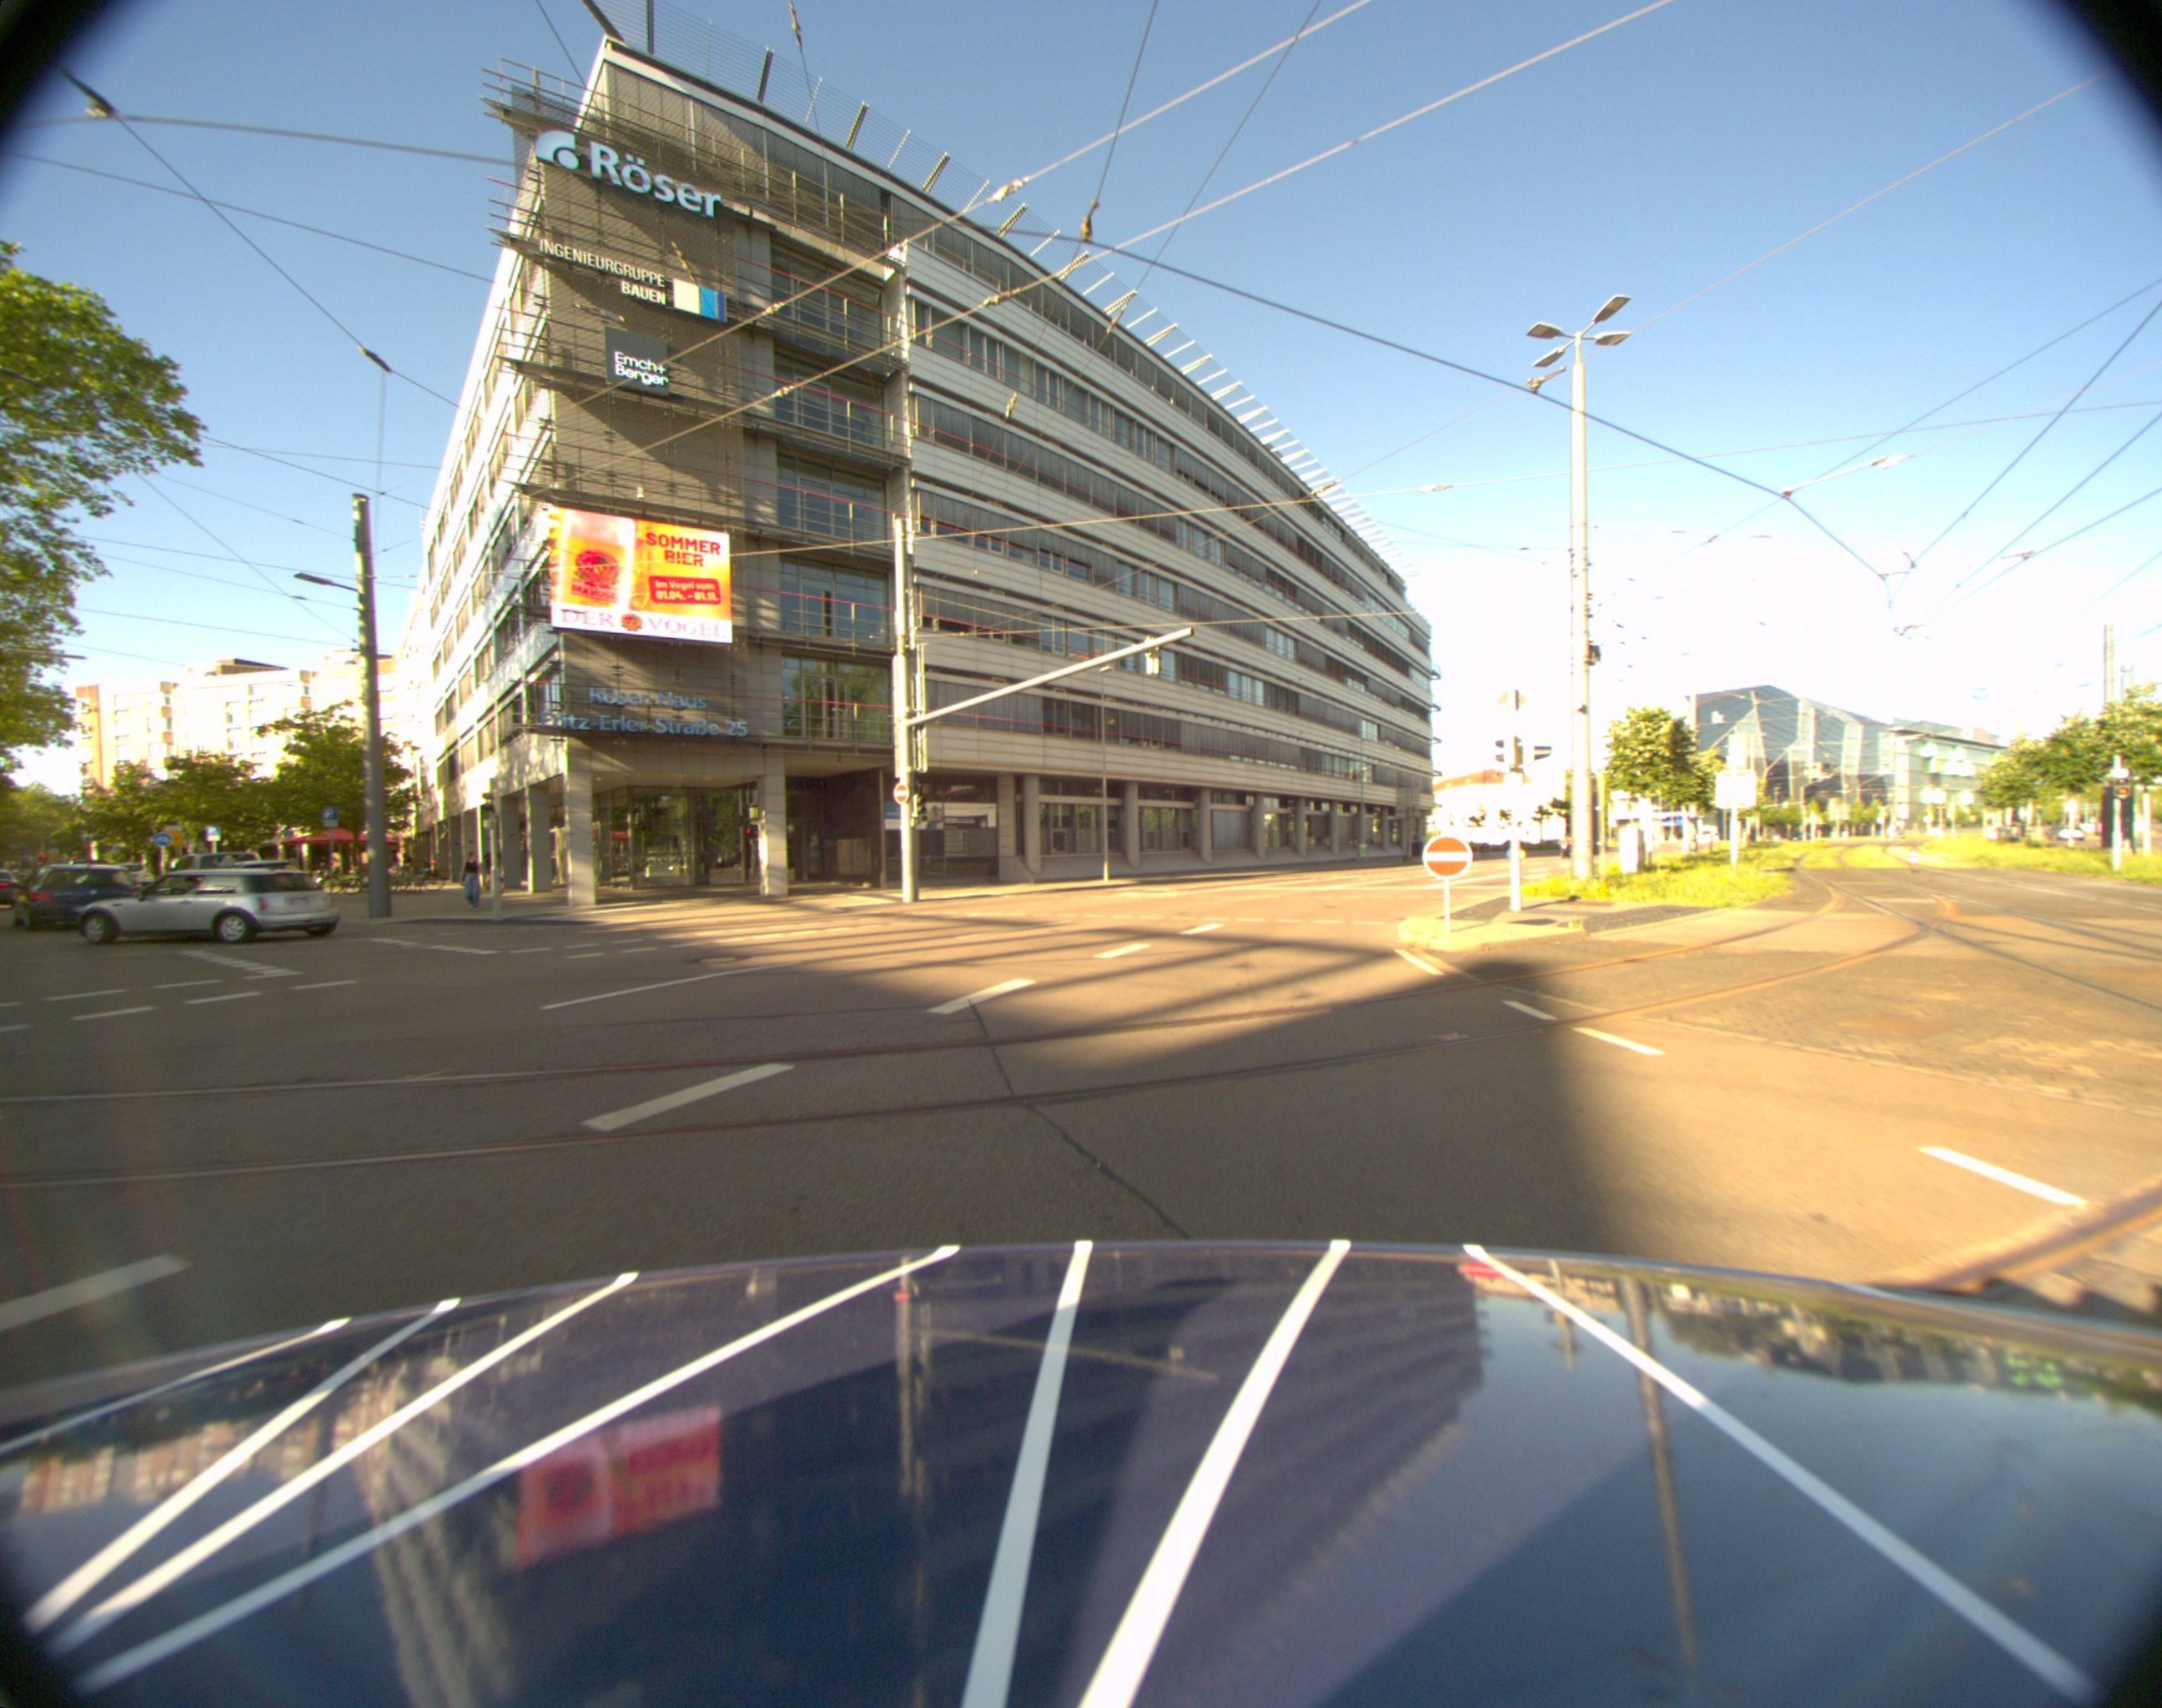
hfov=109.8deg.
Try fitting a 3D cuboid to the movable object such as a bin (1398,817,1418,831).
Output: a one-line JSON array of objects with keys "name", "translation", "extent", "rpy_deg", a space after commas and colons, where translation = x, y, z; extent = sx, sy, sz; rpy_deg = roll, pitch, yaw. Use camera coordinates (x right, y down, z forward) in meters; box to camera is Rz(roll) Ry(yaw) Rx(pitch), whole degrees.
[{"name": "movable object such as a bin", "translation": [29.353, -2.700, 68.221], "extent": [1.325, 1.294, 1.176], "rpy_deg": [1, 4, 43]}]

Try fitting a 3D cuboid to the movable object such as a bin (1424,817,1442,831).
[{"name": "movable object such as a bin", "translation": [32.937, -2.802, 71.035], "extent": [1.170, 1.294, 1.331], "rpy_deg": [2, 4, 44]}]

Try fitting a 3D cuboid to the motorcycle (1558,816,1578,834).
[{"name": "motorcycle", "translation": [34.069, -2.020, 53.121], "extent": [0.819, 1.215, 2.259], "rpy_deg": [2, 4, 40]}]

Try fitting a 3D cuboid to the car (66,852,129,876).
[{"name": "car", "translation": [-66.998, 0.646, 51.752], "extent": [3.967, 1.467, 1.870], "rpy_deg": [0, 3, 27]}]

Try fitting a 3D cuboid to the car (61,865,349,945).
[{"name": "car", "translation": [-16.757, 0.940, 14.675], "extent": [3.534, 1.381, 1.666], "rpy_deg": [0, 1, -1]}]

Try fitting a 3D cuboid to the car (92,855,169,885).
[{"name": "car", "translation": [-52.875, 0.861, 42.256], "extent": [3.967, 1.467, 1.870], "rpy_deg": [0, 3, 27]}]

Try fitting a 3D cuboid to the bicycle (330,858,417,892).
[{"name": "bicycle", "translation": [-28.252, 0.812, 30.394], "extent": [0.773, 1.207, 2.398], "rpy_deg": [0, 2, 26]}]

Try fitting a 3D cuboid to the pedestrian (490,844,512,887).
[{"name": "pedestrian", "translation": [-23.529, 0.458, 30.811], "extent": [0.588, 1.724, 0.791], "rpy_deg": [-4, 3, -38]}]

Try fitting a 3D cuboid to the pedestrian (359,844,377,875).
[{"name": "pedestrian", "translation": [-40.491, 0.328, 43.148], "extent": [0.638, 1.724, 0.791], "rpy_deg": [-5, 3, -44]}]

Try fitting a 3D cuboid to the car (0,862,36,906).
[{"name": "car", "translation": [-38.722, 1.071, 26.806], "extent": [4.008, 1.432, 1.703], "rpy_deg": [0, 3, 31]}]

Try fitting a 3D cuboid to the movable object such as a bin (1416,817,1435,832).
[{"name": "movable object such as a bin", "translation": [31.848, -2.736, 70.213], "extent": [1.170, 1.294, 1.331], "rpy_deg": [2, 4, 44]}]

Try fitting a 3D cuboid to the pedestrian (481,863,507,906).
[{"name": "pedestrian", "translation": [-16.689, 0.859, 21.614], "extent": [0.460, 1.203, 0.444], "rpy_deg": [1, 3, 40]}]

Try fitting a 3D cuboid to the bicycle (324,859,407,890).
[{"name": "bicycle", "translation": [-30.521, 0.860, 32.457], "extent": [0.773, 1.207, 2.398], "rpy_deg": [0, 2, 26]}]

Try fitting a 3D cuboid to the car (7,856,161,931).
[{"name": "car", "translation": [-23.790, 0.857, 18.106], "extent": [3.966, 1.467, 1.870], "rpy_deg": [1, 3, 33]}]

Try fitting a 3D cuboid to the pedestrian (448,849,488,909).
[{"name": "pedestrian", "translation": [-16.997, 0.676, 21.071], "extent": [0.791, 1.631, 0.662], "rpy_deg": [1, 3, 40]}]

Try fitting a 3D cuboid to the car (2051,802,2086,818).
[{"name": "car", "translation": [95.672, -4.270, 73.670], "extent": [4.812, 1.519, 1.622], "rpy_deg": [-4, 4, -42]}]

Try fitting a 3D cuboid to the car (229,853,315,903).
[{"name": "car", "translation": [-28.072, 0.784, 26.469], "extent": [3.965, 1.467, 1.871], "rpy_deg": [1, 4, 45]}]

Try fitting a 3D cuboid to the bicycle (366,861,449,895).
[{"name": "bicycle", "translation": [-26.640, 0.912, 30.085], "extent": [2.399, 1.207, 0.773], "rpy_deg": [-3, 2, -44]}]

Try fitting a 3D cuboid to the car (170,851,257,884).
[{"name": "car", "translation": [-43.182, 0.648, 37.806], "extent": [3.967, 1.467, 1.870], "rpy_deg": [0, 3, 27]}]

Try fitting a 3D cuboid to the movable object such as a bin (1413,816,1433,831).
[{"name": "movable object such as a bin", "translation": [30.278, -2.674, 67.219], "extent": [1.325, 1.294, 1.176], "rpy_deg": [1, 4, 43]}]

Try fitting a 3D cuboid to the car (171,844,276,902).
[{"name": "car", "translation": [-32.755, 0.637, 28.995], "extent": [4.445, 2.005, 1.870], "rpy_deg": [1, 3, 32]}]

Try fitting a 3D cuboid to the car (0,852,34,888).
[{"name": "car", "translation": [-48.058, 0.707, 33.616], "extent": [3.970, 1.467, 1.703], "rpy_deg": [0, 3, 32]}]
